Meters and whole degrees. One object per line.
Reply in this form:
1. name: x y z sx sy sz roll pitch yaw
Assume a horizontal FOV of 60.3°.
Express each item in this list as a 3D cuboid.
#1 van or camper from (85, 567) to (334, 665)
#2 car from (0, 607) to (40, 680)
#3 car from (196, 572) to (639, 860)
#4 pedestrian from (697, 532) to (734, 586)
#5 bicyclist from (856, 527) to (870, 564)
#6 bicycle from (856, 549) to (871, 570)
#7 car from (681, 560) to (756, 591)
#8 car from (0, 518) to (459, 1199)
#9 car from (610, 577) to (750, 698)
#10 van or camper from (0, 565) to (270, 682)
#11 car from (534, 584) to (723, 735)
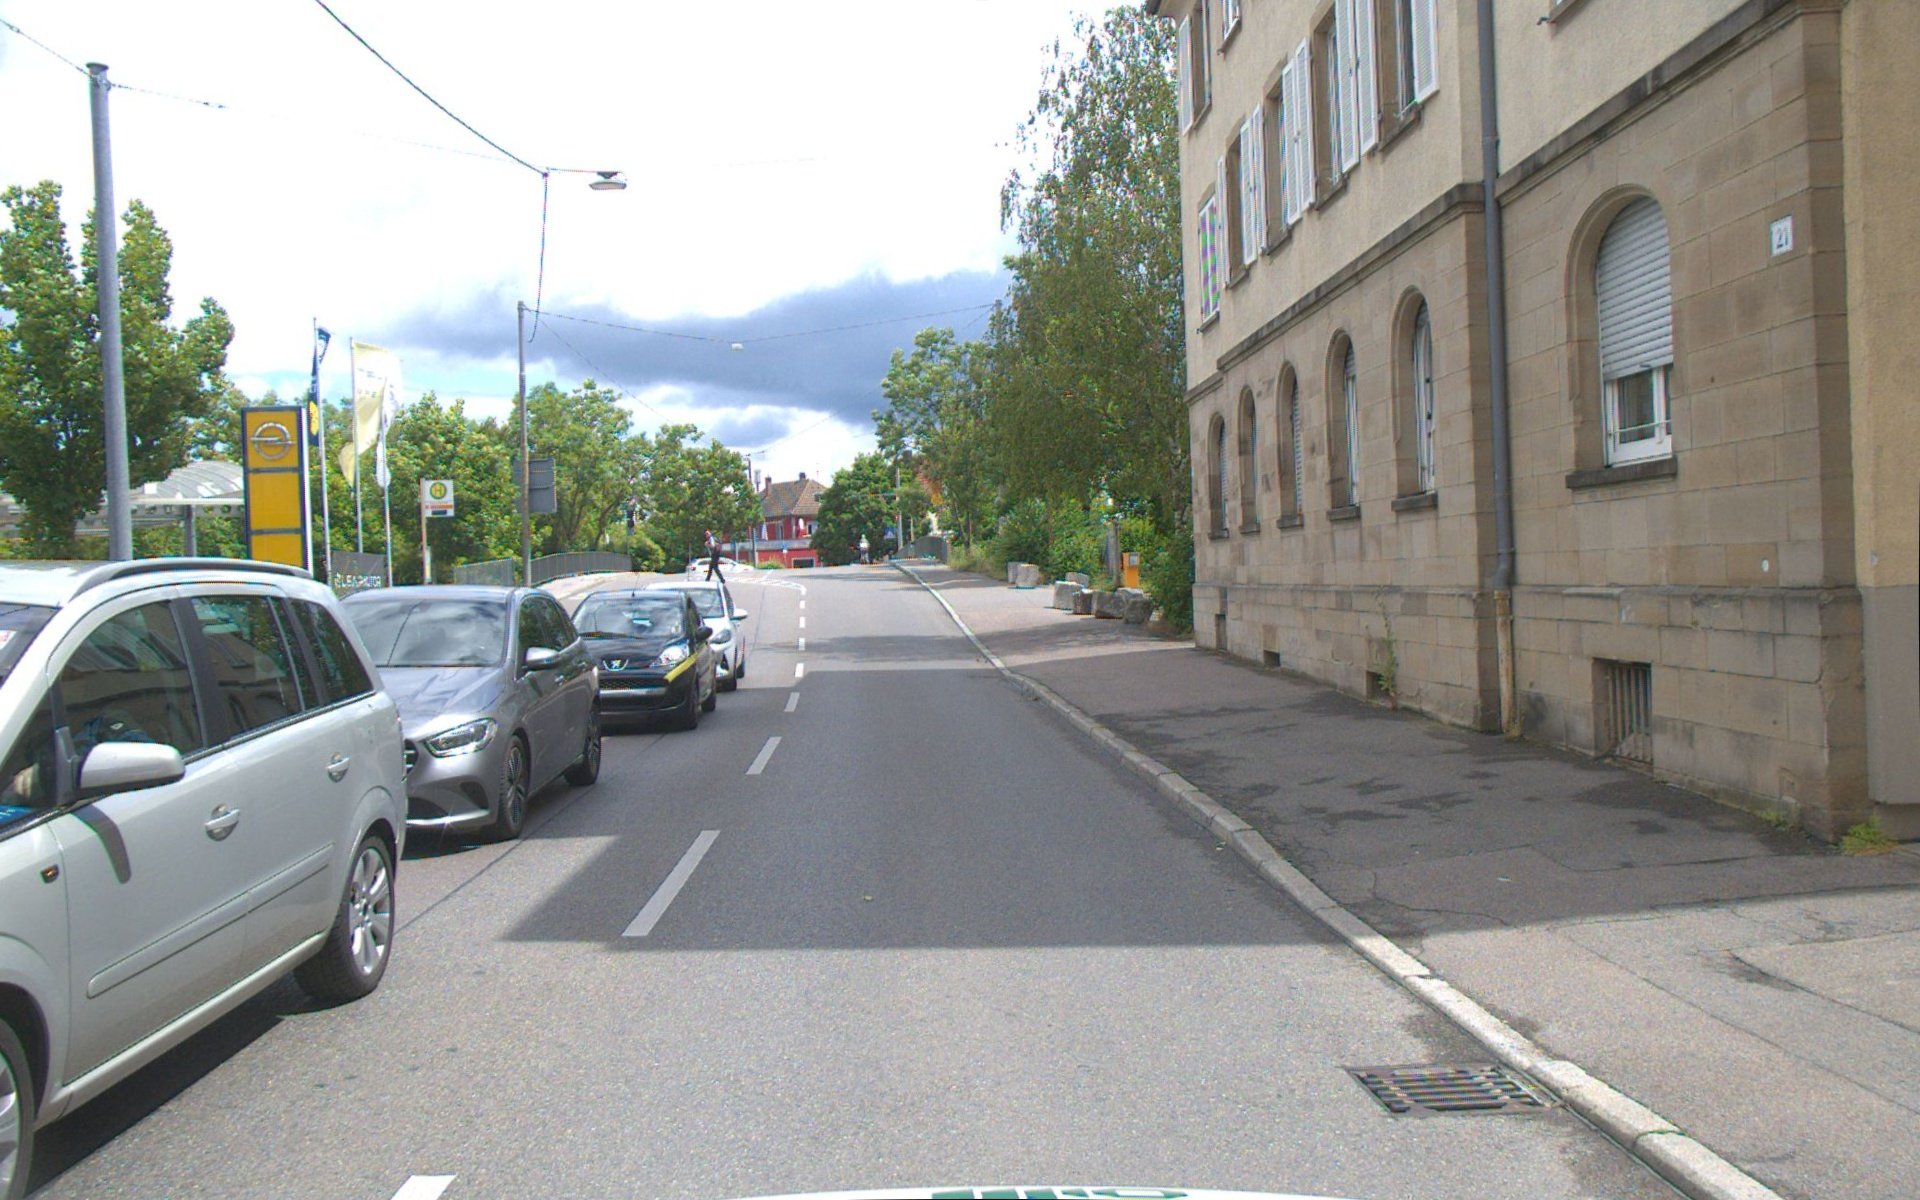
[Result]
1. van or camper: -16.929 0.302 37.593 1.946 1.997 4.953 0 2 28
2. car: -21.284 0.961 33.876 3.967 1.492 1.790 -3 1 -42
3. car: -3.461 0.653 11.419 1.684 1.609 4.250 0 0 -1
4. pedestrian: -8.500 -1.431 57.552 1.011 1.869 1.000 -1 2 6
5. bicyclist: -5.143 -2.910 87.859 0.670 1.858 1.080 -1 -4 0
6. bicycle: -5.116 -2.138 87.888 0.673 0.894 2.101 -1 -3 0
7. car: -15.562 -1.583 106.746 4.368 1.863 1.982 1 -1 -28
8. car: -2.908 0.634 4.699 1.684 1.609 4.318 0 0 -1
9. car: -4.005 0.507 24.166 1.685 1.609 3.996 0 0 -5
10. van or camper: -14.611 0.385 28.415 4.572 1.780 2.000 -2 1 0
11. car: -3.571 0.600 18.311 1.685 1.510 3.319 0 0 -5
